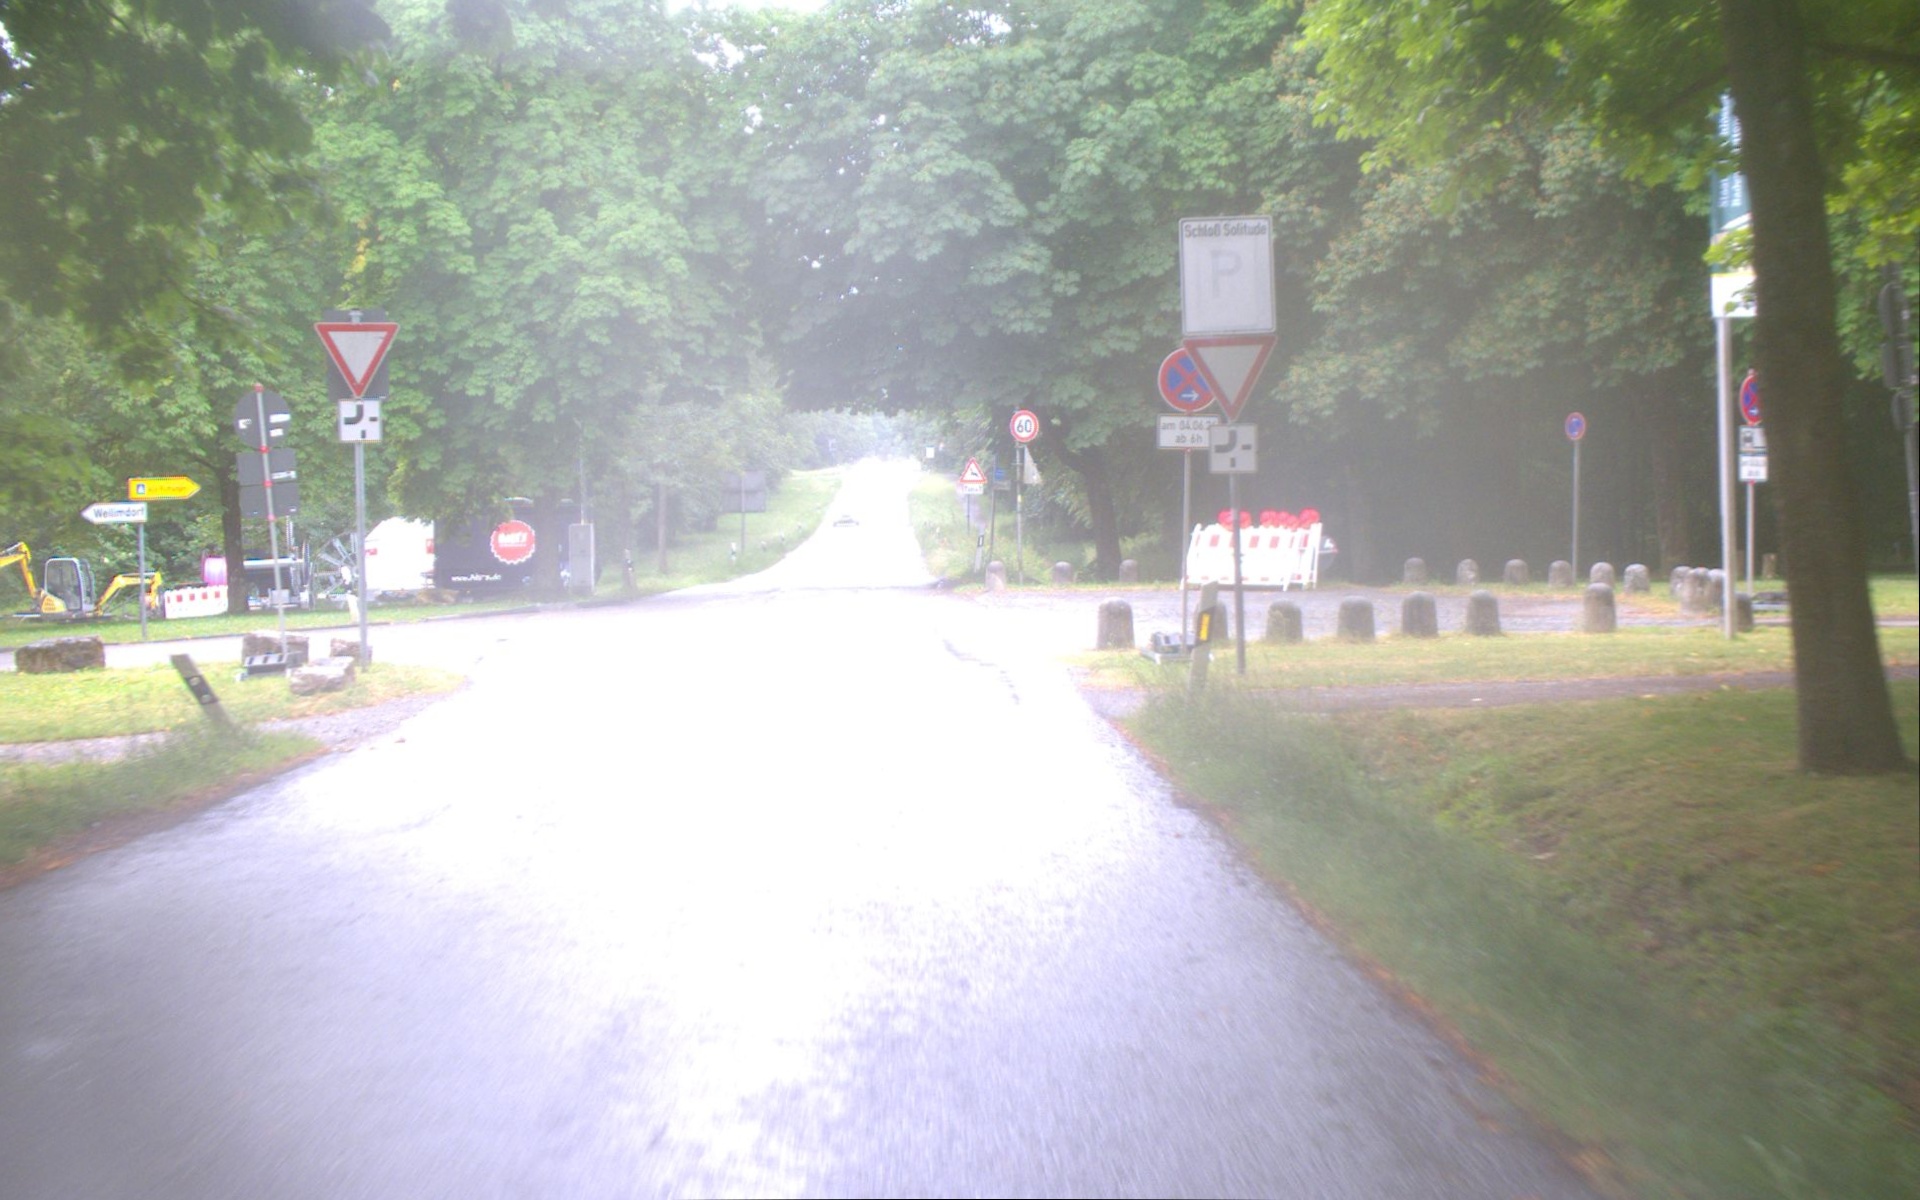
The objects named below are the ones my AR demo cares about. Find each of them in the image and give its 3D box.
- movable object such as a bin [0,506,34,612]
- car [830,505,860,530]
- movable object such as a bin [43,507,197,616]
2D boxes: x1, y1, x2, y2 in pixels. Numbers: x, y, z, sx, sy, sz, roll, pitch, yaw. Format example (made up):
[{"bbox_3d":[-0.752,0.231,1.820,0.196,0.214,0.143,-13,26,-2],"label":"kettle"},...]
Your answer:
[{"bbox_3d":[-32.084,-1.228,109.446,4.653,3.282,3.915,-2,1,-12],"label":"movable object such as a bin"},{"bbox_3d":[-8.045,-5.776,240.692,1.993,1.711,4.001,-2,2,-1],"label":"car"},{"bbox_3d":[-27.097,-1.258,111.137,4.580,3.282,3.667,-2,1,-12],"label":"movable object such as a bin"}]
